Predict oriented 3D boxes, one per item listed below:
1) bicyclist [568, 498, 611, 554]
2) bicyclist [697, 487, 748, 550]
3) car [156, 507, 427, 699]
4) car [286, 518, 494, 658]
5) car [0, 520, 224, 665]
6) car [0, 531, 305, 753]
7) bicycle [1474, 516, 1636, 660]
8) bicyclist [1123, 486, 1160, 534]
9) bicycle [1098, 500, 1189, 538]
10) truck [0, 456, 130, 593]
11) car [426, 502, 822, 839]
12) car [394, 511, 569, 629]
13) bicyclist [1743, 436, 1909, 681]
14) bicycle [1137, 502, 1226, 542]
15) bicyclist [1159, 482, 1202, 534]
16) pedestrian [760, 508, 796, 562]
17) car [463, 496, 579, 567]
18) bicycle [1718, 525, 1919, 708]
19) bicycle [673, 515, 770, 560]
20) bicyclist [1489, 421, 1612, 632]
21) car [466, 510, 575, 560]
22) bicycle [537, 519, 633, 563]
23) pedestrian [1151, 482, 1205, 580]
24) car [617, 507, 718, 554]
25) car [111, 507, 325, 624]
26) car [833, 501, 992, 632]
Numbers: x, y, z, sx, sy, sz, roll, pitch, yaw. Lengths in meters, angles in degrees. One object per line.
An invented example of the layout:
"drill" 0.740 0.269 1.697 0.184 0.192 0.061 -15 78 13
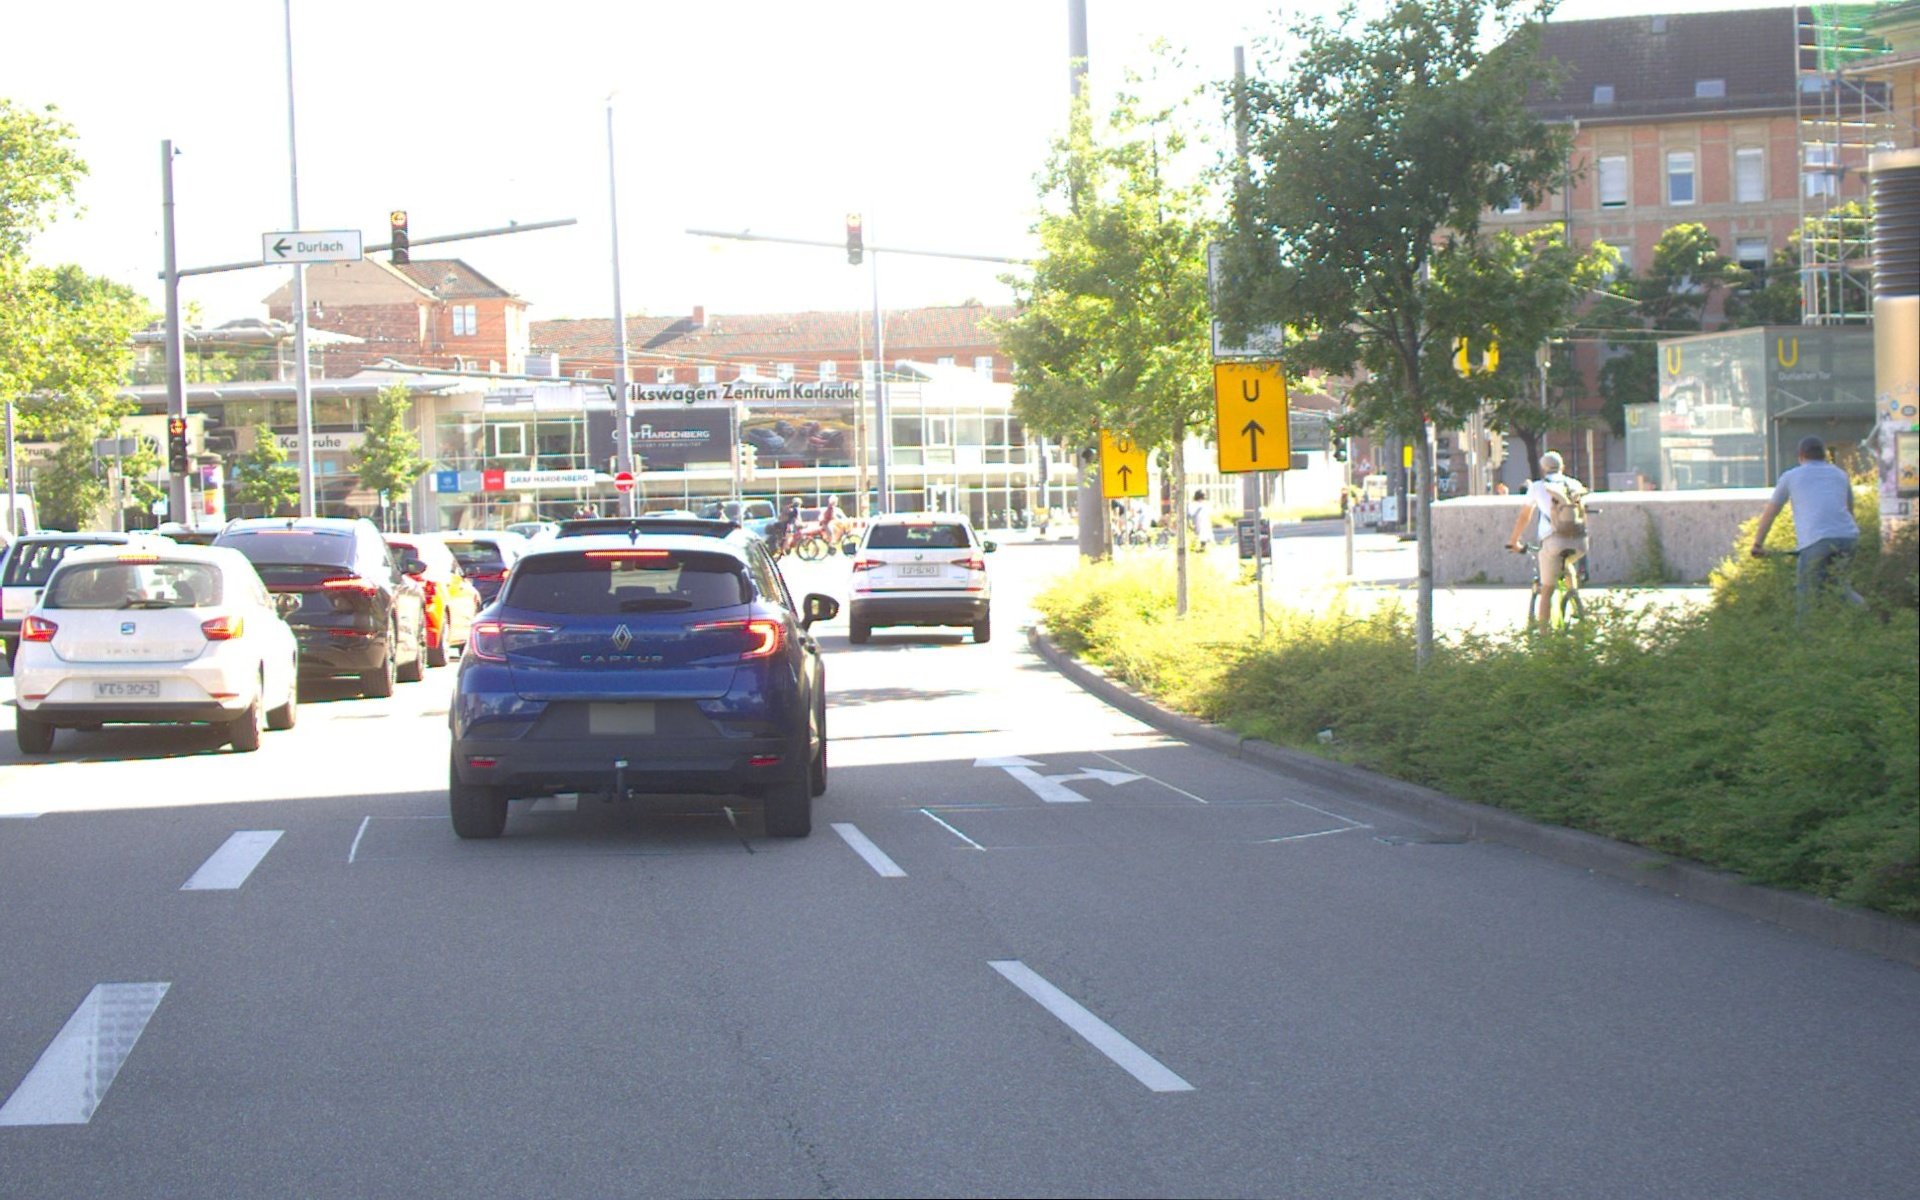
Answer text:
"bicyclist" -10.857 -2.173 100.676 1.062 1.578 0.948 -2 4 -18
"bicyclist" -6.914 -2.374 100.034 1.183 1.770 0.948 -2 4 -25
"car" -6.154 -0.032 32.100 1.983 1.618 4.379 -2 2 -5
"car" -6.294 -0.171 38.298 1.671 1.437 3.722 1 2 0
"car" -9.283 -0.116 37.561 1.725 1.437 3.799 -2 2 -1
"car" -5.808 0.246 25.035 1.691 1.431 3.738 -2 2 -6
"bicycle" 5.070 -0.126 29.417 0.745 1.161 1.871 -2 2 -10
"bicyclist" 5.551 -2.745 105.069 0.962 1.444 0.969 -1 1 -5
"bicycle" 5.614 -2.476 105.089 2.642 1.091 0.969 -1 1 -5
"truck" -16.963 -1.303 59.899 2.215 2.305 6.881 -1 2 10
"car" -1.686 0.326 18.384 1.876 1.612 3.798 0 0 -2
"car" -6.175 -0.422 44.726 1.725 1.437 3.799 1 2 0
"bicyclist" 5.885 -0.295 23.404 0.719 1.611 0.978 -2 2 -10
"bicycle" 7.035 -2.475 109.076 2.645 1.184 0.948 -2 4 -18
"bicyclist" 7.000 -2.928 109.076 1.062 1.578 0.948 -2 4 -18
"pedestrian" -5.576 -1.989 105.126 0.703 1.605 0.850 2 4 36
"car" -13.560 -2.146 106.347 1.995 2.006 3.997 1 4 18
"bicycle" 5.891 0.085 23.421 0.716 1.161 1.871 -2 2 -11
"bicycle" -6.946 -1.822 100.032 2.646 1.184 0.948 -2 4 -25
"bicyclist" 5.050 -0.639 29.444 0.719 1.756 0.978 -2 2 -10
"car" -13.660 -2.037 107.083 1.726 1.437 4.181 -1 2 18
"bicycle" -10.989 -1.719 100.676 2.645 1.184 0.948 -2 4 -18
"pedestrian" 3.860 -1.213 60.786 0.595 1.717 0.869 -1 -1 32
"car" -9.357 -2.239 110.441 1.726 1.437 4.181 -1 2 18
"car" -9.637 -0.484 44.926 1.725 1.437 3.910 1 2 4
"car" -0.571 -0.457 44.317 1.877 1.612 3.625 0 1 2
